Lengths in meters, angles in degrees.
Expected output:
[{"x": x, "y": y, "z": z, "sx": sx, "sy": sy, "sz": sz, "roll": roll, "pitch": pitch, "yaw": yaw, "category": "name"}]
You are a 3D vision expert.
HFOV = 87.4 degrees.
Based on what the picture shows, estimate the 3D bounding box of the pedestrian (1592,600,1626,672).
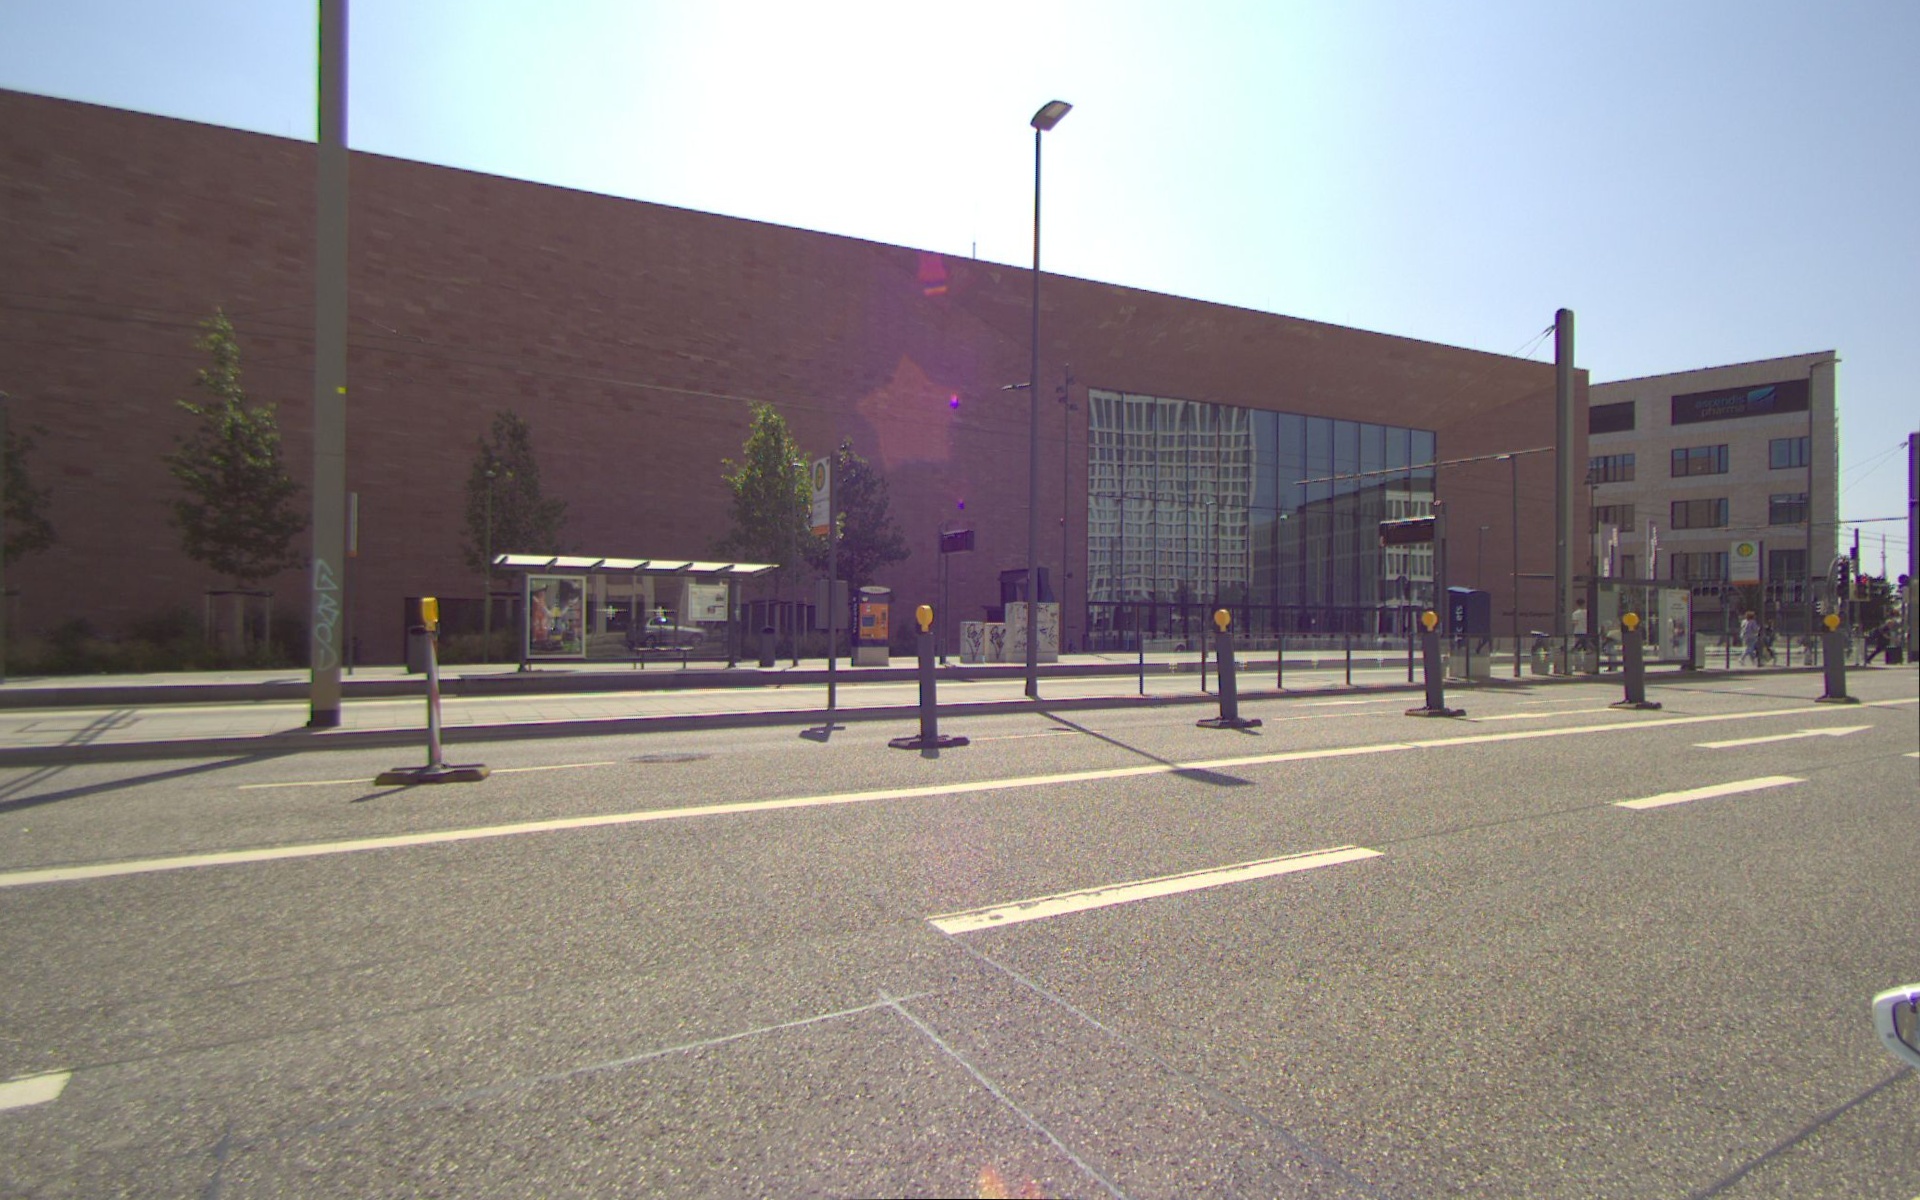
[{"x": 17.043, "y": 0.936, "z": 26.370, "sx": 0.654, "sy": 1.844, "sz": 0.720, "roll": 1, "pitch": 1, "yaw": 37, "category": "pedestrian"}]

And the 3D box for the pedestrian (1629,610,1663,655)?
[{"x": 29.656, "y": 1.410, "z": 43.429, "sx": 0.817, "sy": 1.915, "sz": 0.974, "roll": 1, "pitch": -1, "yaw": -29, "category": "pedestrian"}]

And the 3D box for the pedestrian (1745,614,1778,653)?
[{"x": 39.639, "y": 1.643, "z": 49.678, "sx": 0.966, "sy": 1.915, "sz": 0.889, "roll": 0, "pitch": -1, "yaw": -10, "category": "pedestrian"}]

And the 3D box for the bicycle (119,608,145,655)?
[{"x": -23.108, "y": 0.857, "z": 28.018, "sx": 0.535, "sy": 1.228, "sz": 2.033, "roll": 0, "pitch": 0, "yaw": -40, "category": "bicycle"}]

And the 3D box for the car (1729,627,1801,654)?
[{"x": 59.118, "y": 2.982, "z": 73.834, "sx": 1.785, "sy": 1.840, "sz": 3.906, "roll": 2, "pitch": -1, "yaw": -41, "category": "car"}]

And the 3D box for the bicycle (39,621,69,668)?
[{"x": -24.918, "y": 1.198, "z": 27.641, "sx": 0.535, "sy": 1.228, "sz": 2.033, "roll": 1, "pitch": -1, "yaw": -40, "category": "bicycle"}]

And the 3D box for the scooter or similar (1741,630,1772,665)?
[{"x": 24.702, "y": 1.457, "z": 31.139, "sx": 0.824, "sy": 1.073, "sz": 0.502, "roll": 1, "pitch": -1, "yaw": -31, "category": "scooter or similar"}]

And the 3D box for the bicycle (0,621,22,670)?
[{"x": -25.548, "y": 1.201, "z": 26.881, "sx": 0.535, "sy": 1.228, "sz": 2.033, "roll": 0, "pitch": 0, "yaw": -40, "category": "bicycle"}]

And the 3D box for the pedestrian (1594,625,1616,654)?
[{"x": 35.111, "y": 2.134, "z": 54.690, "sx": 0.880, "sy": 1.592, "sz": 0.707, "roll": 1, "pitch": -1, "yaw": -31, "category": "pedestrian"}]

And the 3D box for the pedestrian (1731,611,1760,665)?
[{"x": 24.063, "y": 1.149, "z": 30.753, "sx": 0.642, "sy": 1.643, "sz": 0.502, "roll": 1, "pitch": -1, "yaw": -30, "category": "pedestrian"}]

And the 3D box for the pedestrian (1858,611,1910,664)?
[{"x": 34.466, "y": 1.396, "z": 37.477, "sx": 1.046, "sy": 1.915, "sz": 1.164, "roll": -1, "pitch": 0, "yaw": -29, "category": "pedestrian"}]

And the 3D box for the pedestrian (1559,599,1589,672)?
[{"x": 15.797, "y": 0.904, "z": 25.844, "sx": 0.543, "sy": 1.844, "sz": 0.597, "roll": 1, "pitch": 1, "yaw": 39, "category": "pedestrian"}]

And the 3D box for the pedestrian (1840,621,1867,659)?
[{"x": 40.659, "y": 1.797, "z": 45.723, "sx": 0.681, "sy": 1.704, "sz": 0.672, "roll": 0, "pitch": -1, "yaw": 11, "category": "pedestrian"}]
